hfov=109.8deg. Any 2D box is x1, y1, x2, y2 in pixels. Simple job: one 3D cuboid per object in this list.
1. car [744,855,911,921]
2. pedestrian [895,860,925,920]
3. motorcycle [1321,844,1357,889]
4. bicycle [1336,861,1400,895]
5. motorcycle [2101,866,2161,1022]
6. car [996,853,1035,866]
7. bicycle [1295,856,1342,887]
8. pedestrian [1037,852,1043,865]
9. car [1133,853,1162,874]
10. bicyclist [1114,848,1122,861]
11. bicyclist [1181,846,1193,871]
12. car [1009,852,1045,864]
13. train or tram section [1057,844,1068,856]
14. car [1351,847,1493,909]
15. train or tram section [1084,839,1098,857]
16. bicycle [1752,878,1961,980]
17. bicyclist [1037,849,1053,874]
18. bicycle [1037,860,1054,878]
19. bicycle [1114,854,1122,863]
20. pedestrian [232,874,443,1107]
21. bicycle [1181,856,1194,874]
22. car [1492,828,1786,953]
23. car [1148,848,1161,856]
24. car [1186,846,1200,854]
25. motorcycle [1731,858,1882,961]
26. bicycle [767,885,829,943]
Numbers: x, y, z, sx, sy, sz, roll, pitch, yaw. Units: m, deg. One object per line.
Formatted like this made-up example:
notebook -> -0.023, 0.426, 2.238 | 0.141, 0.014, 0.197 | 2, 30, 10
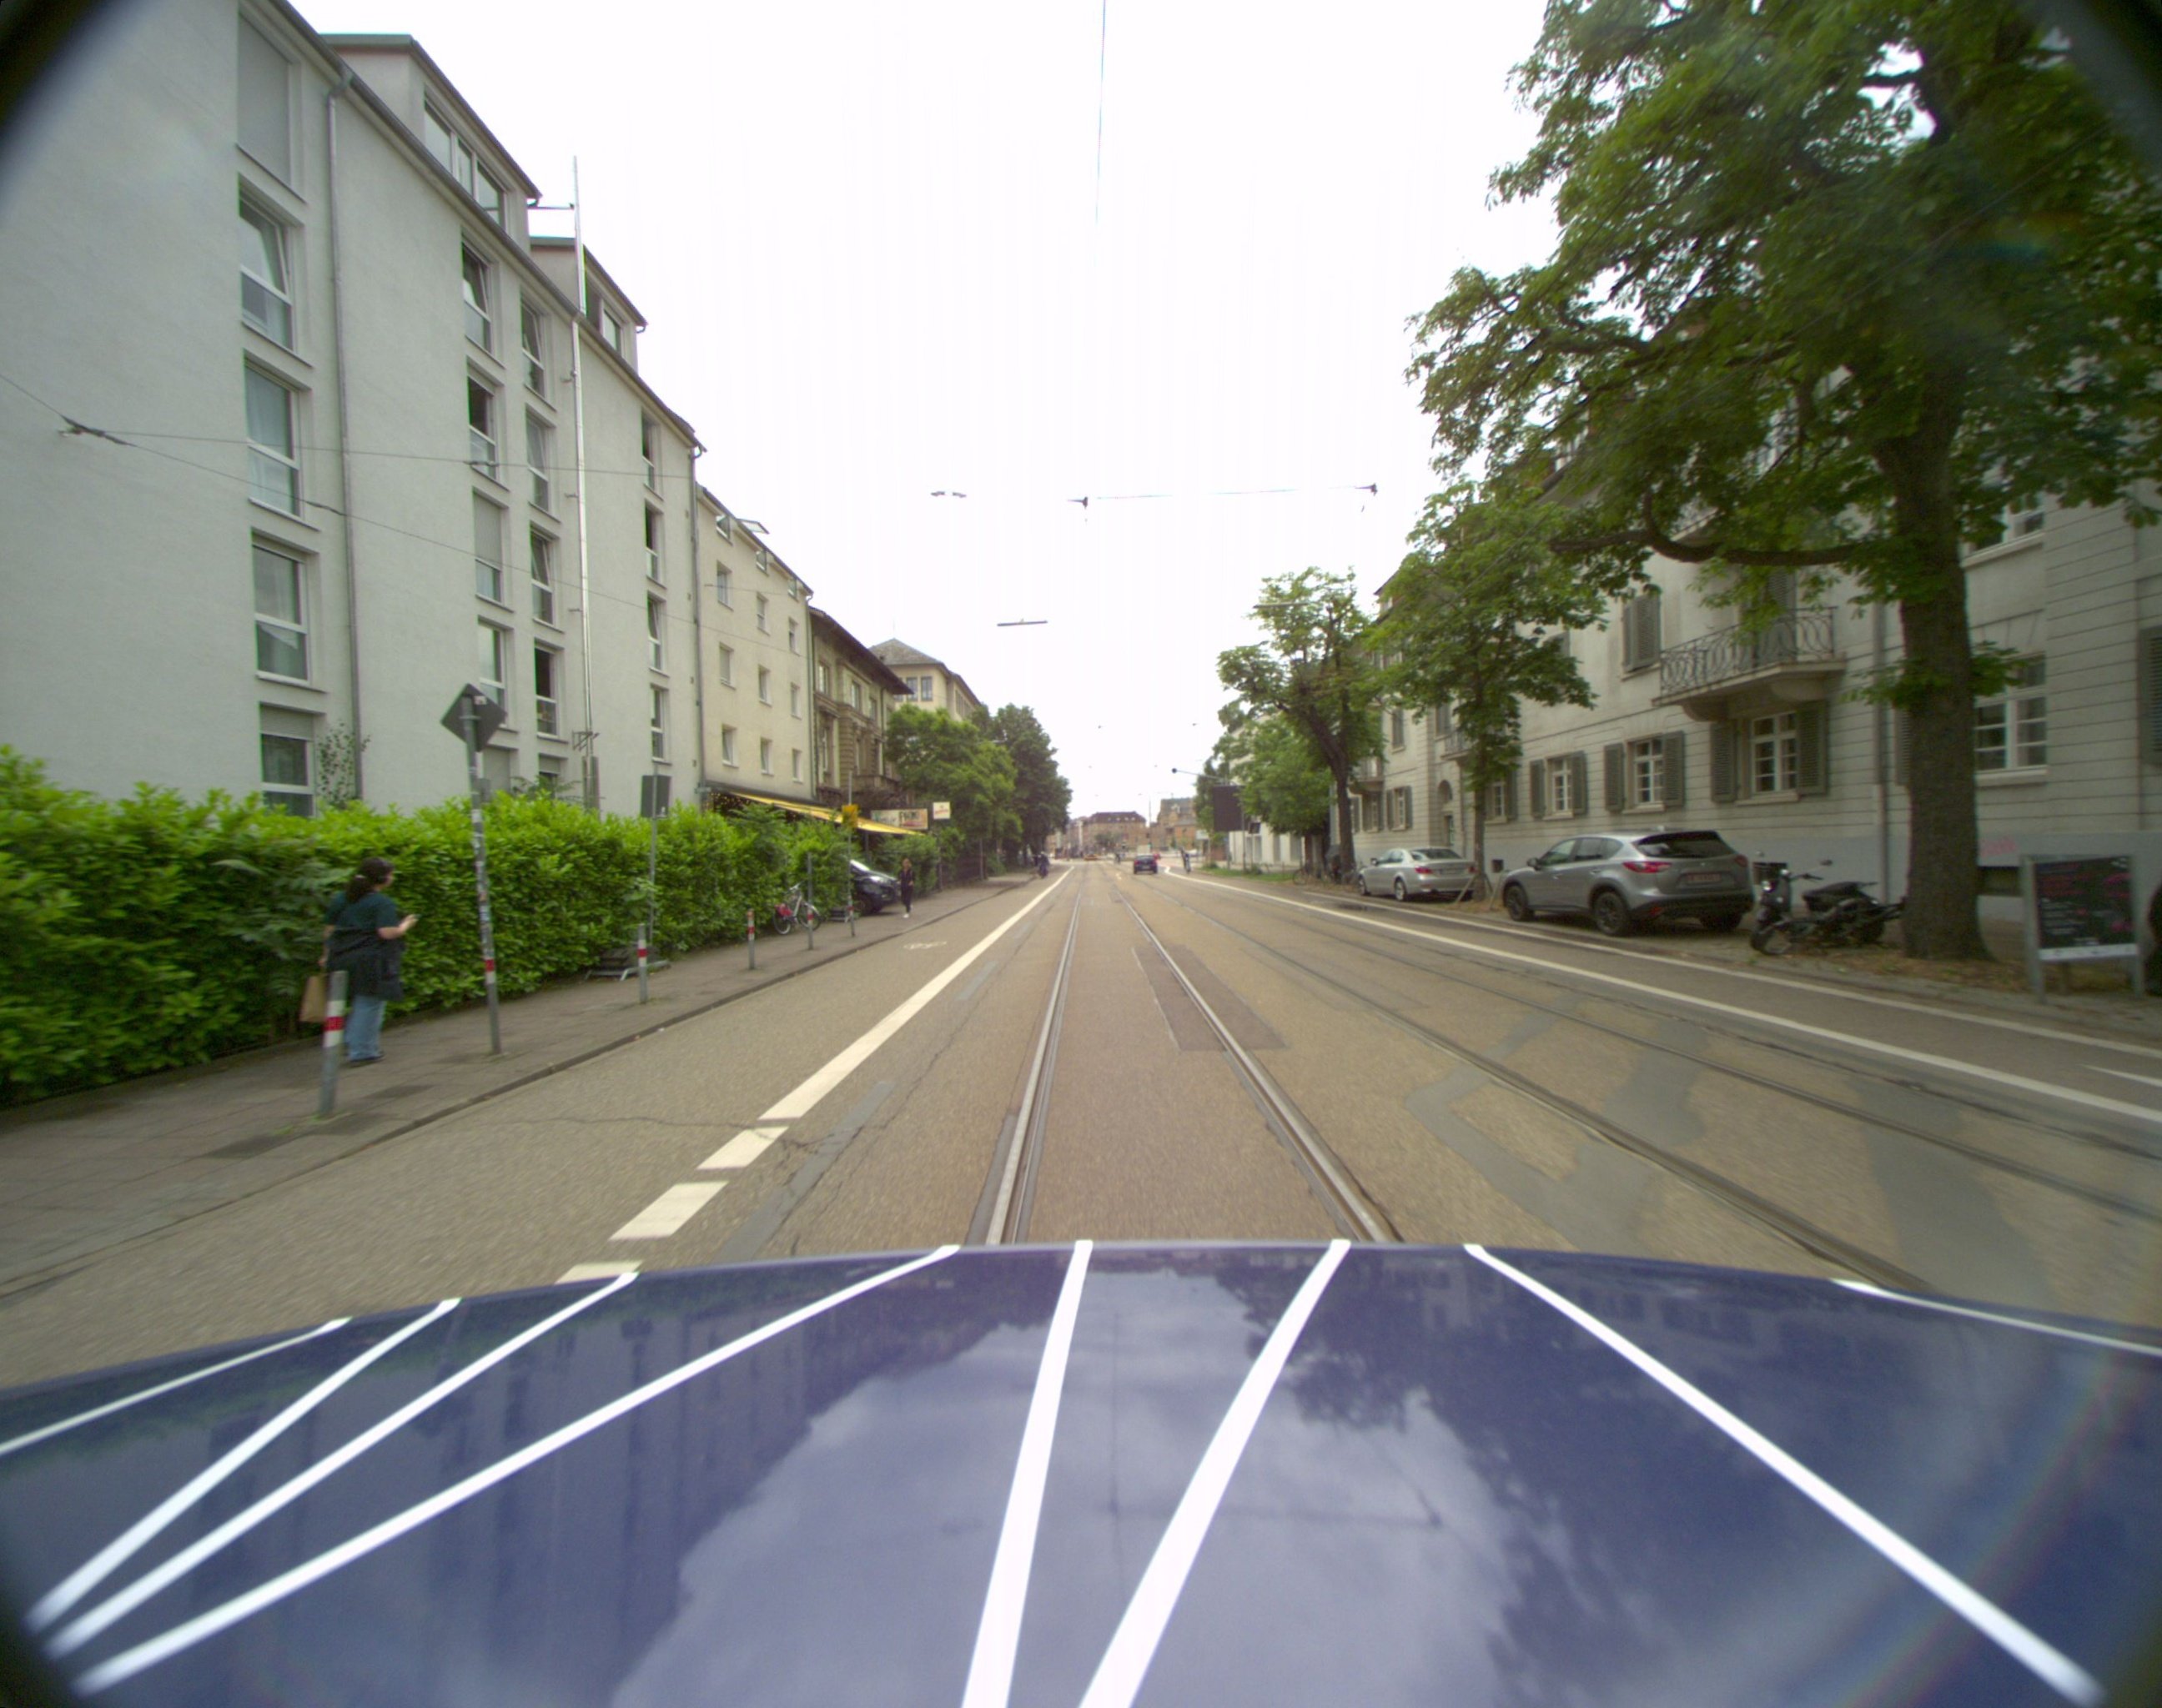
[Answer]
car -> -7.404, 0.978, 22.465 | 4.290, 1.798, 1.824 | -1, 0, 3
pedestrian -> -4.858, 1.012, 21.620 | 0.625, 1.661, 0.960 | 1, 1, 0
motorcycle -> 9.707, 0.441, 28.694 | 0.834, 1.633, 2.481 | -2, 0, 9
bicycle -> 9.486, 0.788, 25.142 | 1.900, 1.021, 0.564 | -3, 1, -3
motorcycle -> 9.270, 0.752, 5.570 | 0.541, 1.250, 2.141 | -4, 1, -6
car -> -7.952, 0.679, 91.781 | 4.338, 1.394, 1.750 | -2, 0, -32
bicycle -> 9.620, 0.710, 30.781 | 1.744, 1.122, 0.518 | -4, 0, 19
pedestrian -> -5.357, 0.569, 98.343 | 0.614, 1.740, 0.685 | -2, 1, -13
car -> 4.746, 0.660, 54.496 | 1.733, 1.400, 3.655 | -2, 0, 1
bicyclist -> 4.830, 0.052, 98.944 | 0.793, 1.773, 1.148 | 1, 1, 8
bicyclist -> 7.365, 0.310, 52.674 | 0.775, 1.681, 0.869 | -2, 1, 7
car -> -7.085, 0.529, 99.568 | 4.330, 1.542, 1.747 | -2, 0, -22
train or tram section -> -4.707, -0.936, 191.657 | 2.609, 2.936, 4.965 | -2, 1, -1
car -> 9.248, 0.598, 21.071 | 1.816, 1.457, 4.614 | -3, 0, 0
train or tram section -> 2.010, -1.268, 160.385 | 2.631, 3.659, 5.984 | -2, 1, -1
bicycle -> 8.935, 0.844, 8.823 | 1.379, 0.999, 0.930 | -5, 0, 5
bicyclist -> -2.591, 0.551, 55.358 | 0.881, 1.811, 1.479 | -2, -1, 6
bicycle -> -2.570, 1.078, 55.472 | 0.852, 1.234, 2.311 | -2, -1, 6
bicycle -> 4.817, 0.549, 98.957 | 0.793, 1.179, 2.012 | 1, 0, 8
pedestrian -> -5.750, 0.990, 5.921 | 0.794, 1.627, 0.837 | 0, 2, 16
bicycle -> 7.392, 0.752, 52.800 | 0.775, 1.205, 1.870 | -2, 0, 7
car -> 9.062, 0.518, 12.909 | 1.842, 1.651, 4.293 | -4, 0, 2
car -> 13.516, -0.333, 139.589 | 1.758, 1.490, 4.004 | 0, 1, 14
car -> 22.859, -0.840, 154.619 | 1.491, 1.500, 3.476 | -1, 1, 34
motorcycle -> 9.212, 0.699, 9.679 | 1.288, 1.215, 0.548 | -3, 1, 7
bicycle -> -6.117, 1.268, 16.520 | 0.634, 1.121, 1.812 | 0, 0, 0
